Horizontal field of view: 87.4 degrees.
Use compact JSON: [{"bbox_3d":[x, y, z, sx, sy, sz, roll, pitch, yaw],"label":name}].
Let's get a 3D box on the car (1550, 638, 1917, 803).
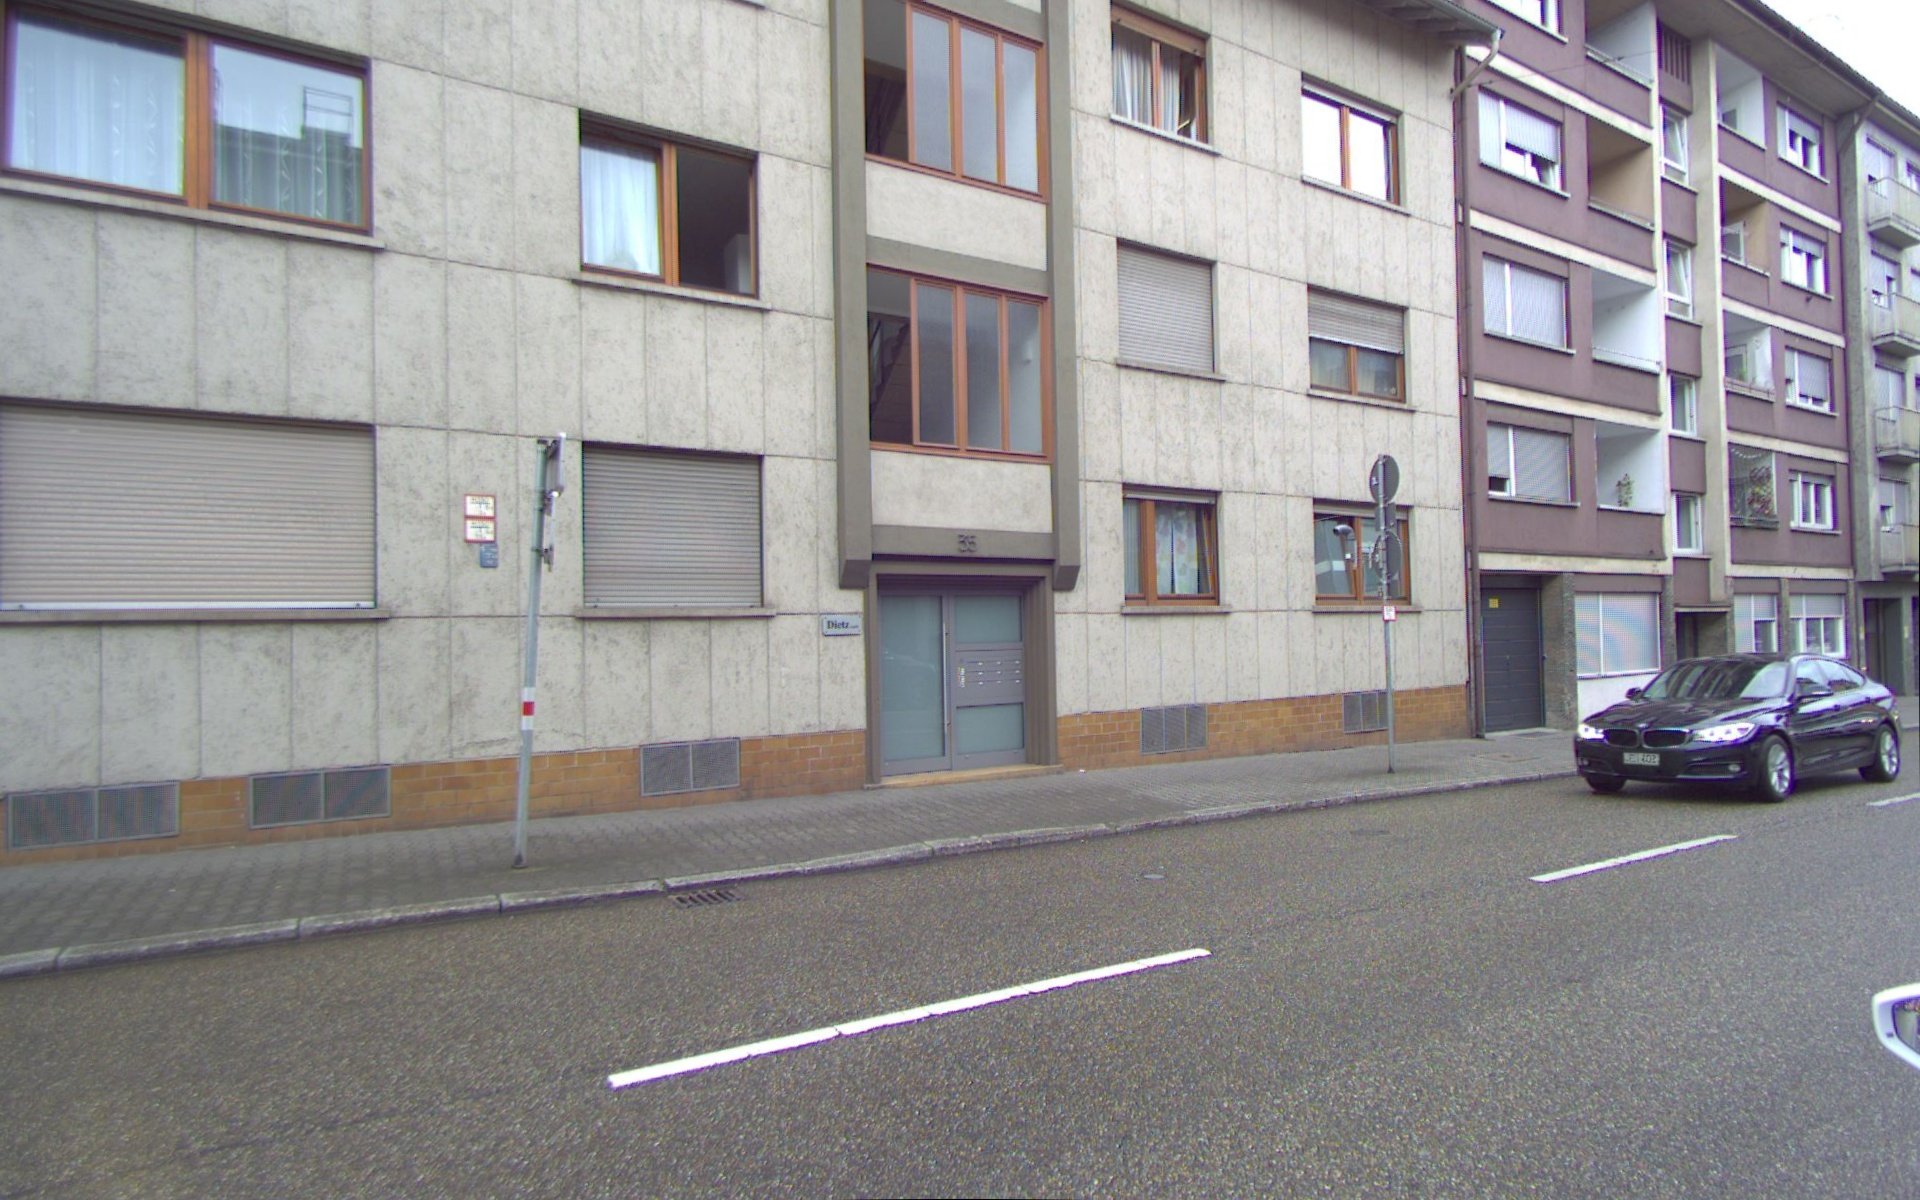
[{"bbox_3d":[8.834,1.289,11.401,4.384,1.558,1.688,2,-7,-30],"label":"car"}]
